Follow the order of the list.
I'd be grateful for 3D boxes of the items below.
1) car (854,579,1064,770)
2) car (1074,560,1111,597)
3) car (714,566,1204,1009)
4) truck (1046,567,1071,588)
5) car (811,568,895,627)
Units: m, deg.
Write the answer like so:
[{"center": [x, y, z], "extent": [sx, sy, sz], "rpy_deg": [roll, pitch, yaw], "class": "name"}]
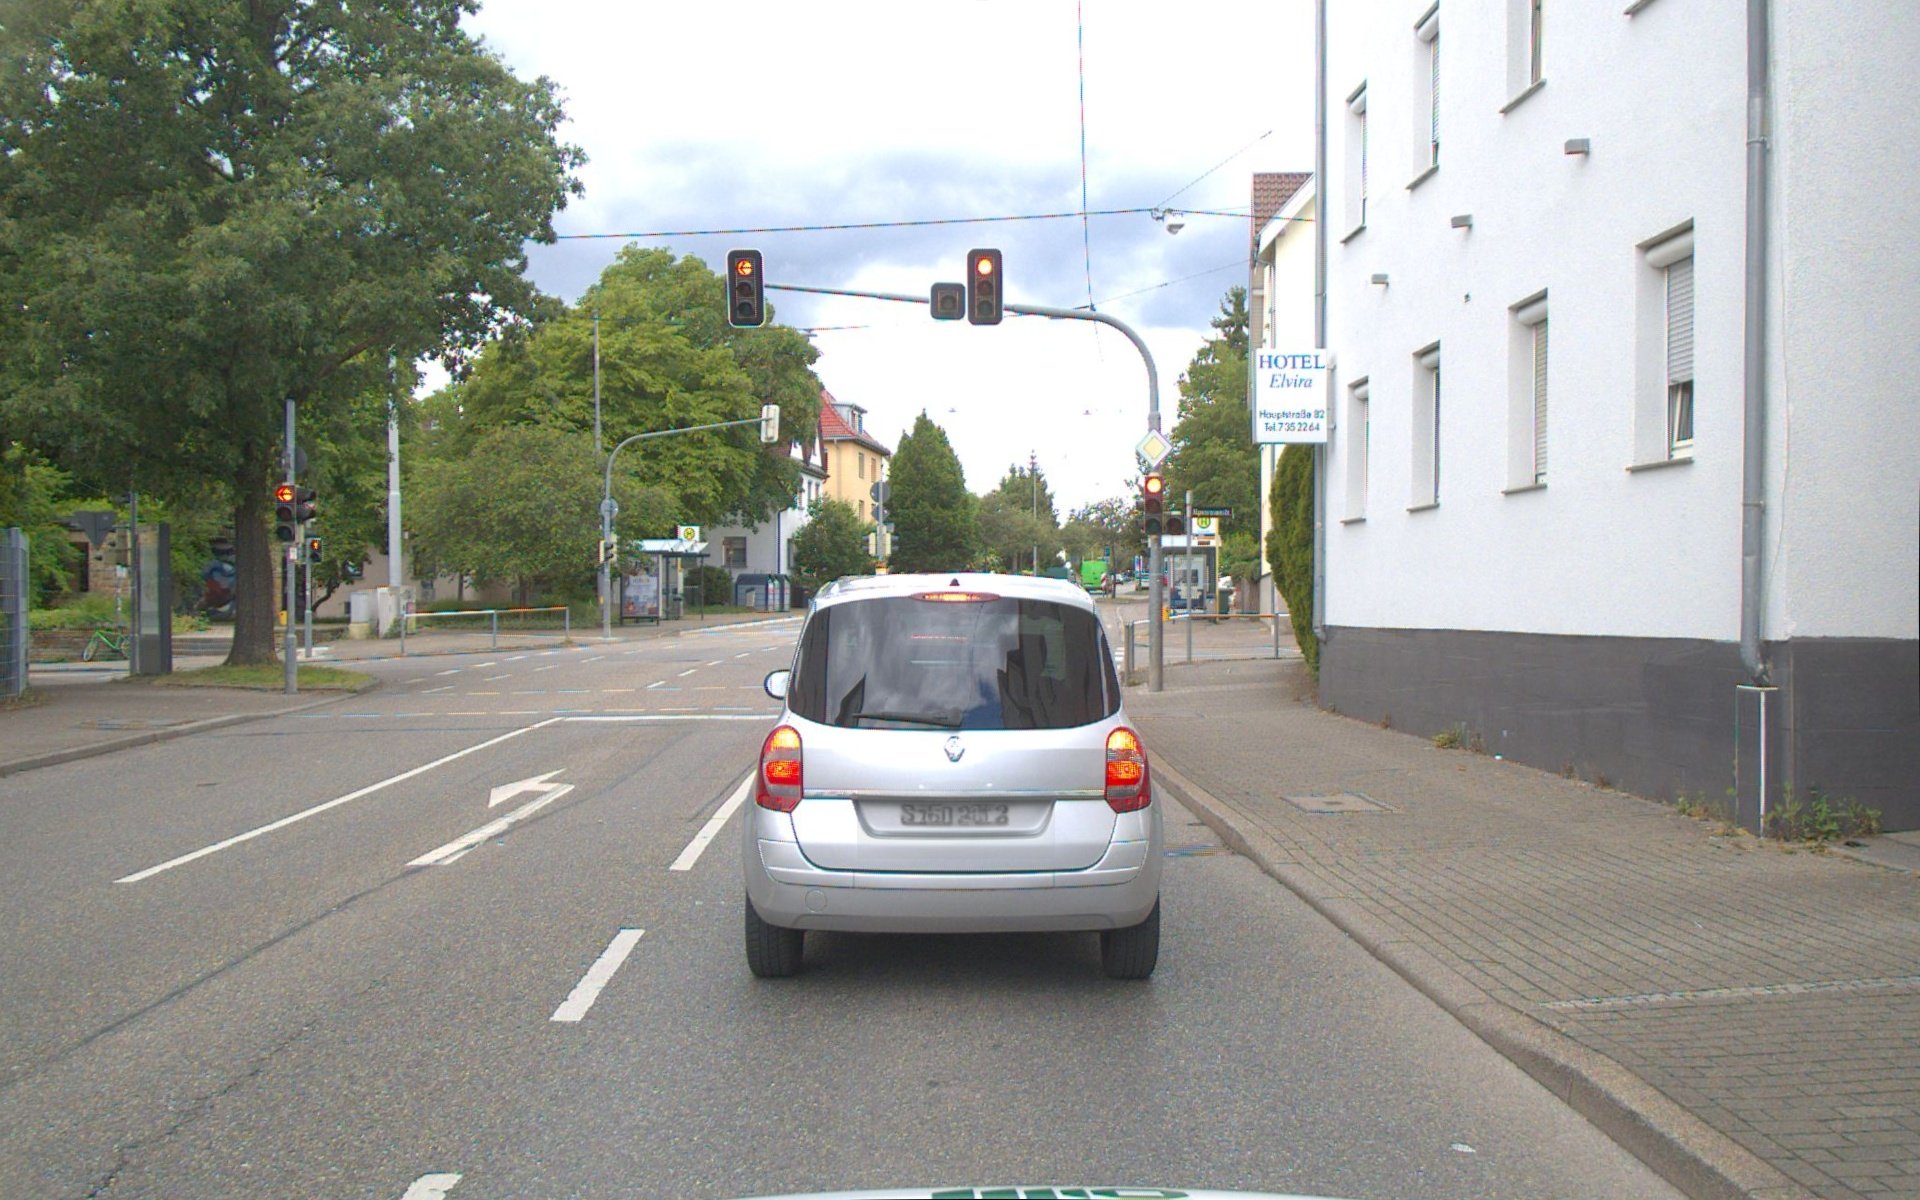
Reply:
[{"center": [-0.048, 0.613, 15.531], "extent": [1.719, 1.557, 3.796], "rpy_deg": [1, 0, -1], "class": "car"}, {"center": [9.617, -1.532, 119.761], "extent": [2.015, 2.556, 5.600], "rpy_deg": [1, 0, 11], "class": "car"}, {"center": [-0.041, 0.662, 7.857], "extent": [1.719, 1.557, 3.999], "rpy_deg": [1, 0, -1], "class": "car"}, {"center": [10.035, -2.254, 168.601], "extent": [2.056, 2.049, 5.752], "rpy_deg": [1, 0, 9], "class": "truck"}, {"center": [-3.578, -0.092, 56.045], "extent": [1.885, 1.804, 4.004], "rpy_deg": [-4, 0, 9], "class": "car"}]
